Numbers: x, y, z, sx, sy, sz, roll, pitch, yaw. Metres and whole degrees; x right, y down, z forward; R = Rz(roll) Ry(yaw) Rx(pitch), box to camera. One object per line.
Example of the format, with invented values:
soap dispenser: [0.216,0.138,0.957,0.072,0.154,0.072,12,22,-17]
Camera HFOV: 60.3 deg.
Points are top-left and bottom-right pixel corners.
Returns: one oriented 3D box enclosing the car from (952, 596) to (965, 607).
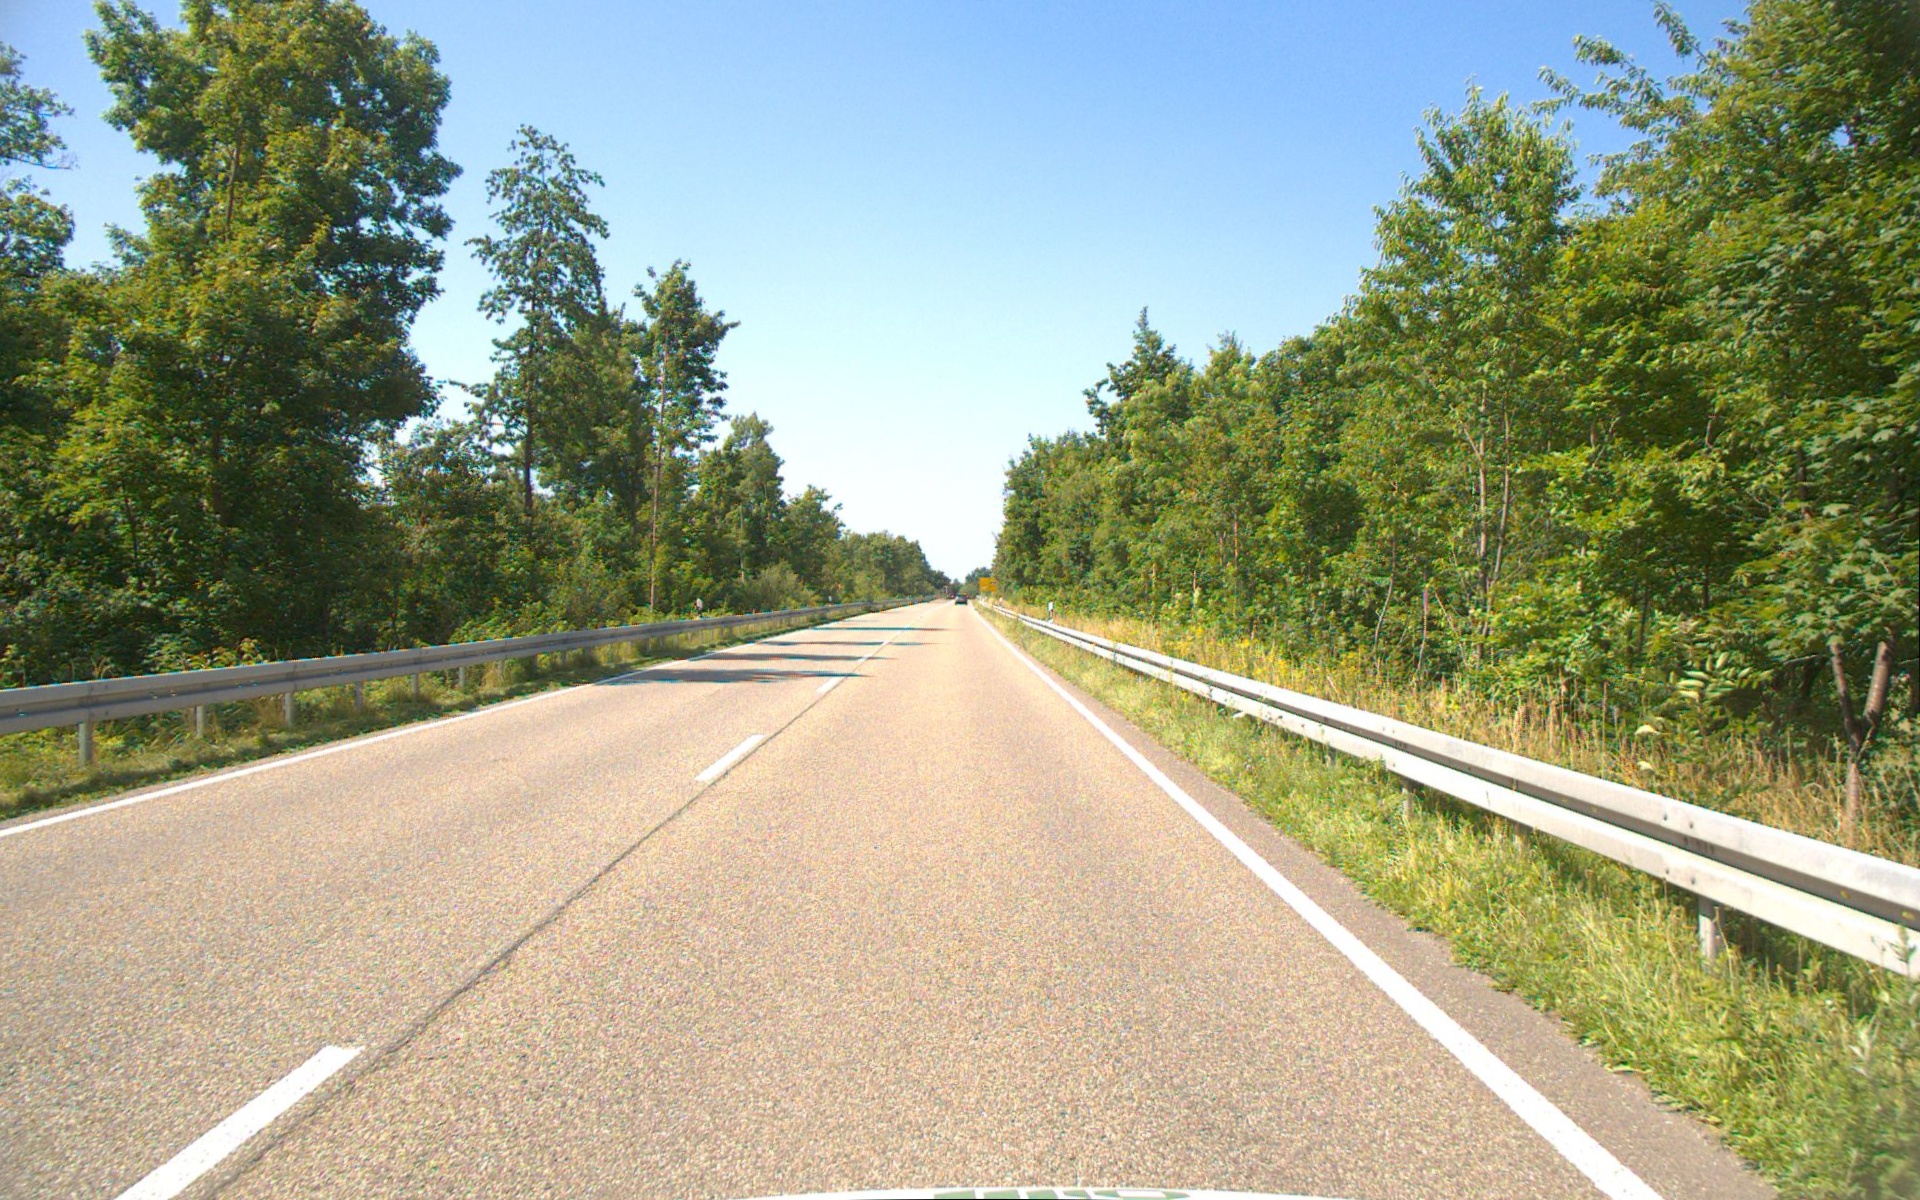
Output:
car: [-0.161,0.173,230.509,1.705,1.496,3.693,1,0,1]
